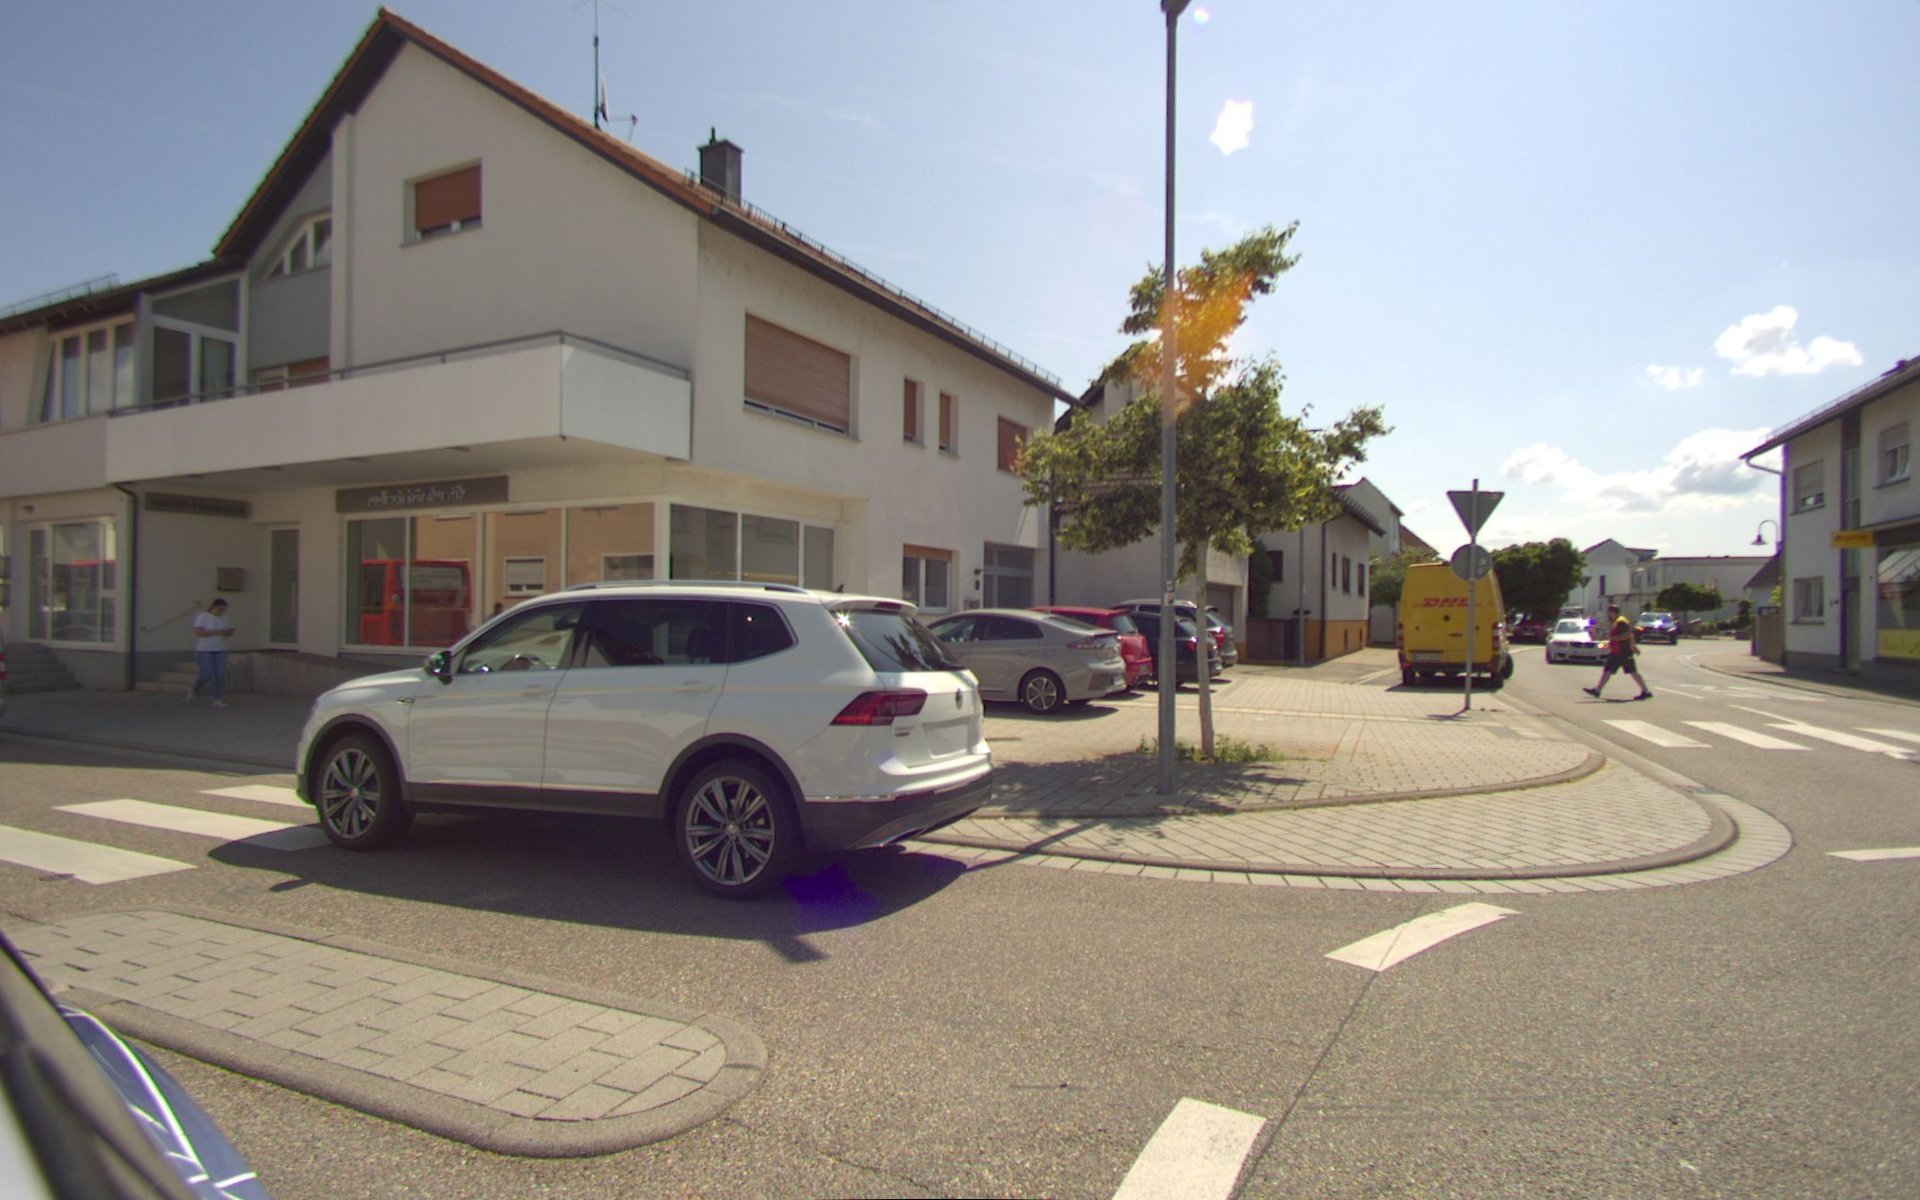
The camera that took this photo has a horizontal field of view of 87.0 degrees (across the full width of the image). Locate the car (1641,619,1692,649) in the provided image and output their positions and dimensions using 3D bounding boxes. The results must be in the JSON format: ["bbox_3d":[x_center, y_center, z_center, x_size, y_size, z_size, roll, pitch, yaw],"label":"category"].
[{"bbox_3d":[36.977,1.734,52.950,1.878,1.361,4.359,1,1,39],"label":"car"}]

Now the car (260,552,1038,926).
[{"bbox_3d":[-1.936,0.683,6.392,4.510,1.723,1.858,0,-3,22],"label":"car"}]

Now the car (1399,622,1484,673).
[{"bbox_3d":[14.176,1.345,29.698,1.781,1.253,3.930,0,0,32],"label":"car"}]

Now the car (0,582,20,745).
[{"bbox_3d":[-13.093,0.687,11.640,4.416,1.835,1.762,0,-3,25],"label":"car"}]

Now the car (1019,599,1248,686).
[{"bbox_3d":[3.895,0.882,22.815,4.724,1.752,1.970,1,-1,26],"label":"car"}]

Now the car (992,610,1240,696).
[{"bbox_3d":[3.027,0.952,19.722,4.455,1.461,1.820,1,-1,26],"label":"car"}]

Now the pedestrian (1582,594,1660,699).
[{"bbox_3d":[11.974,0.839,18.362,1.018,1.839,0.776,-2,-1,26],"label":"pedestrian"}]

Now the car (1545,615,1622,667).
[{"bbox_3d":[20.100,1.269,32.767,1.872,1.459,4.293,0,0,28],"label":"car"}]

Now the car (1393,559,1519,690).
[{"bbox_3d":[11.423,0.559,23.057,2.105,2.592,5.624,-1,-2,31],"label":"car"}]

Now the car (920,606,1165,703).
[{"bbox_3d":[1.434,0.881,17.747,3.943,1.488,1.737,1,-1,26],"label":"car"}]

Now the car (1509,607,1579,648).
[{"bbox_3d":[28.391,1.290,49.161,3.912,1.847,1.876,-1,0,-42],"label":"car"}]

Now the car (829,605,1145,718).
[{"bbox_3d":[0.387,0.846,15.359,4.455,1.461,1.820,1,-1,26],"label":"car"}]

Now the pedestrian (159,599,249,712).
[{"bbox_3d":[-11.248,0.797,15.063,0.952,1.595,0.750,1,1,28],"label":"pedestrian"}]
